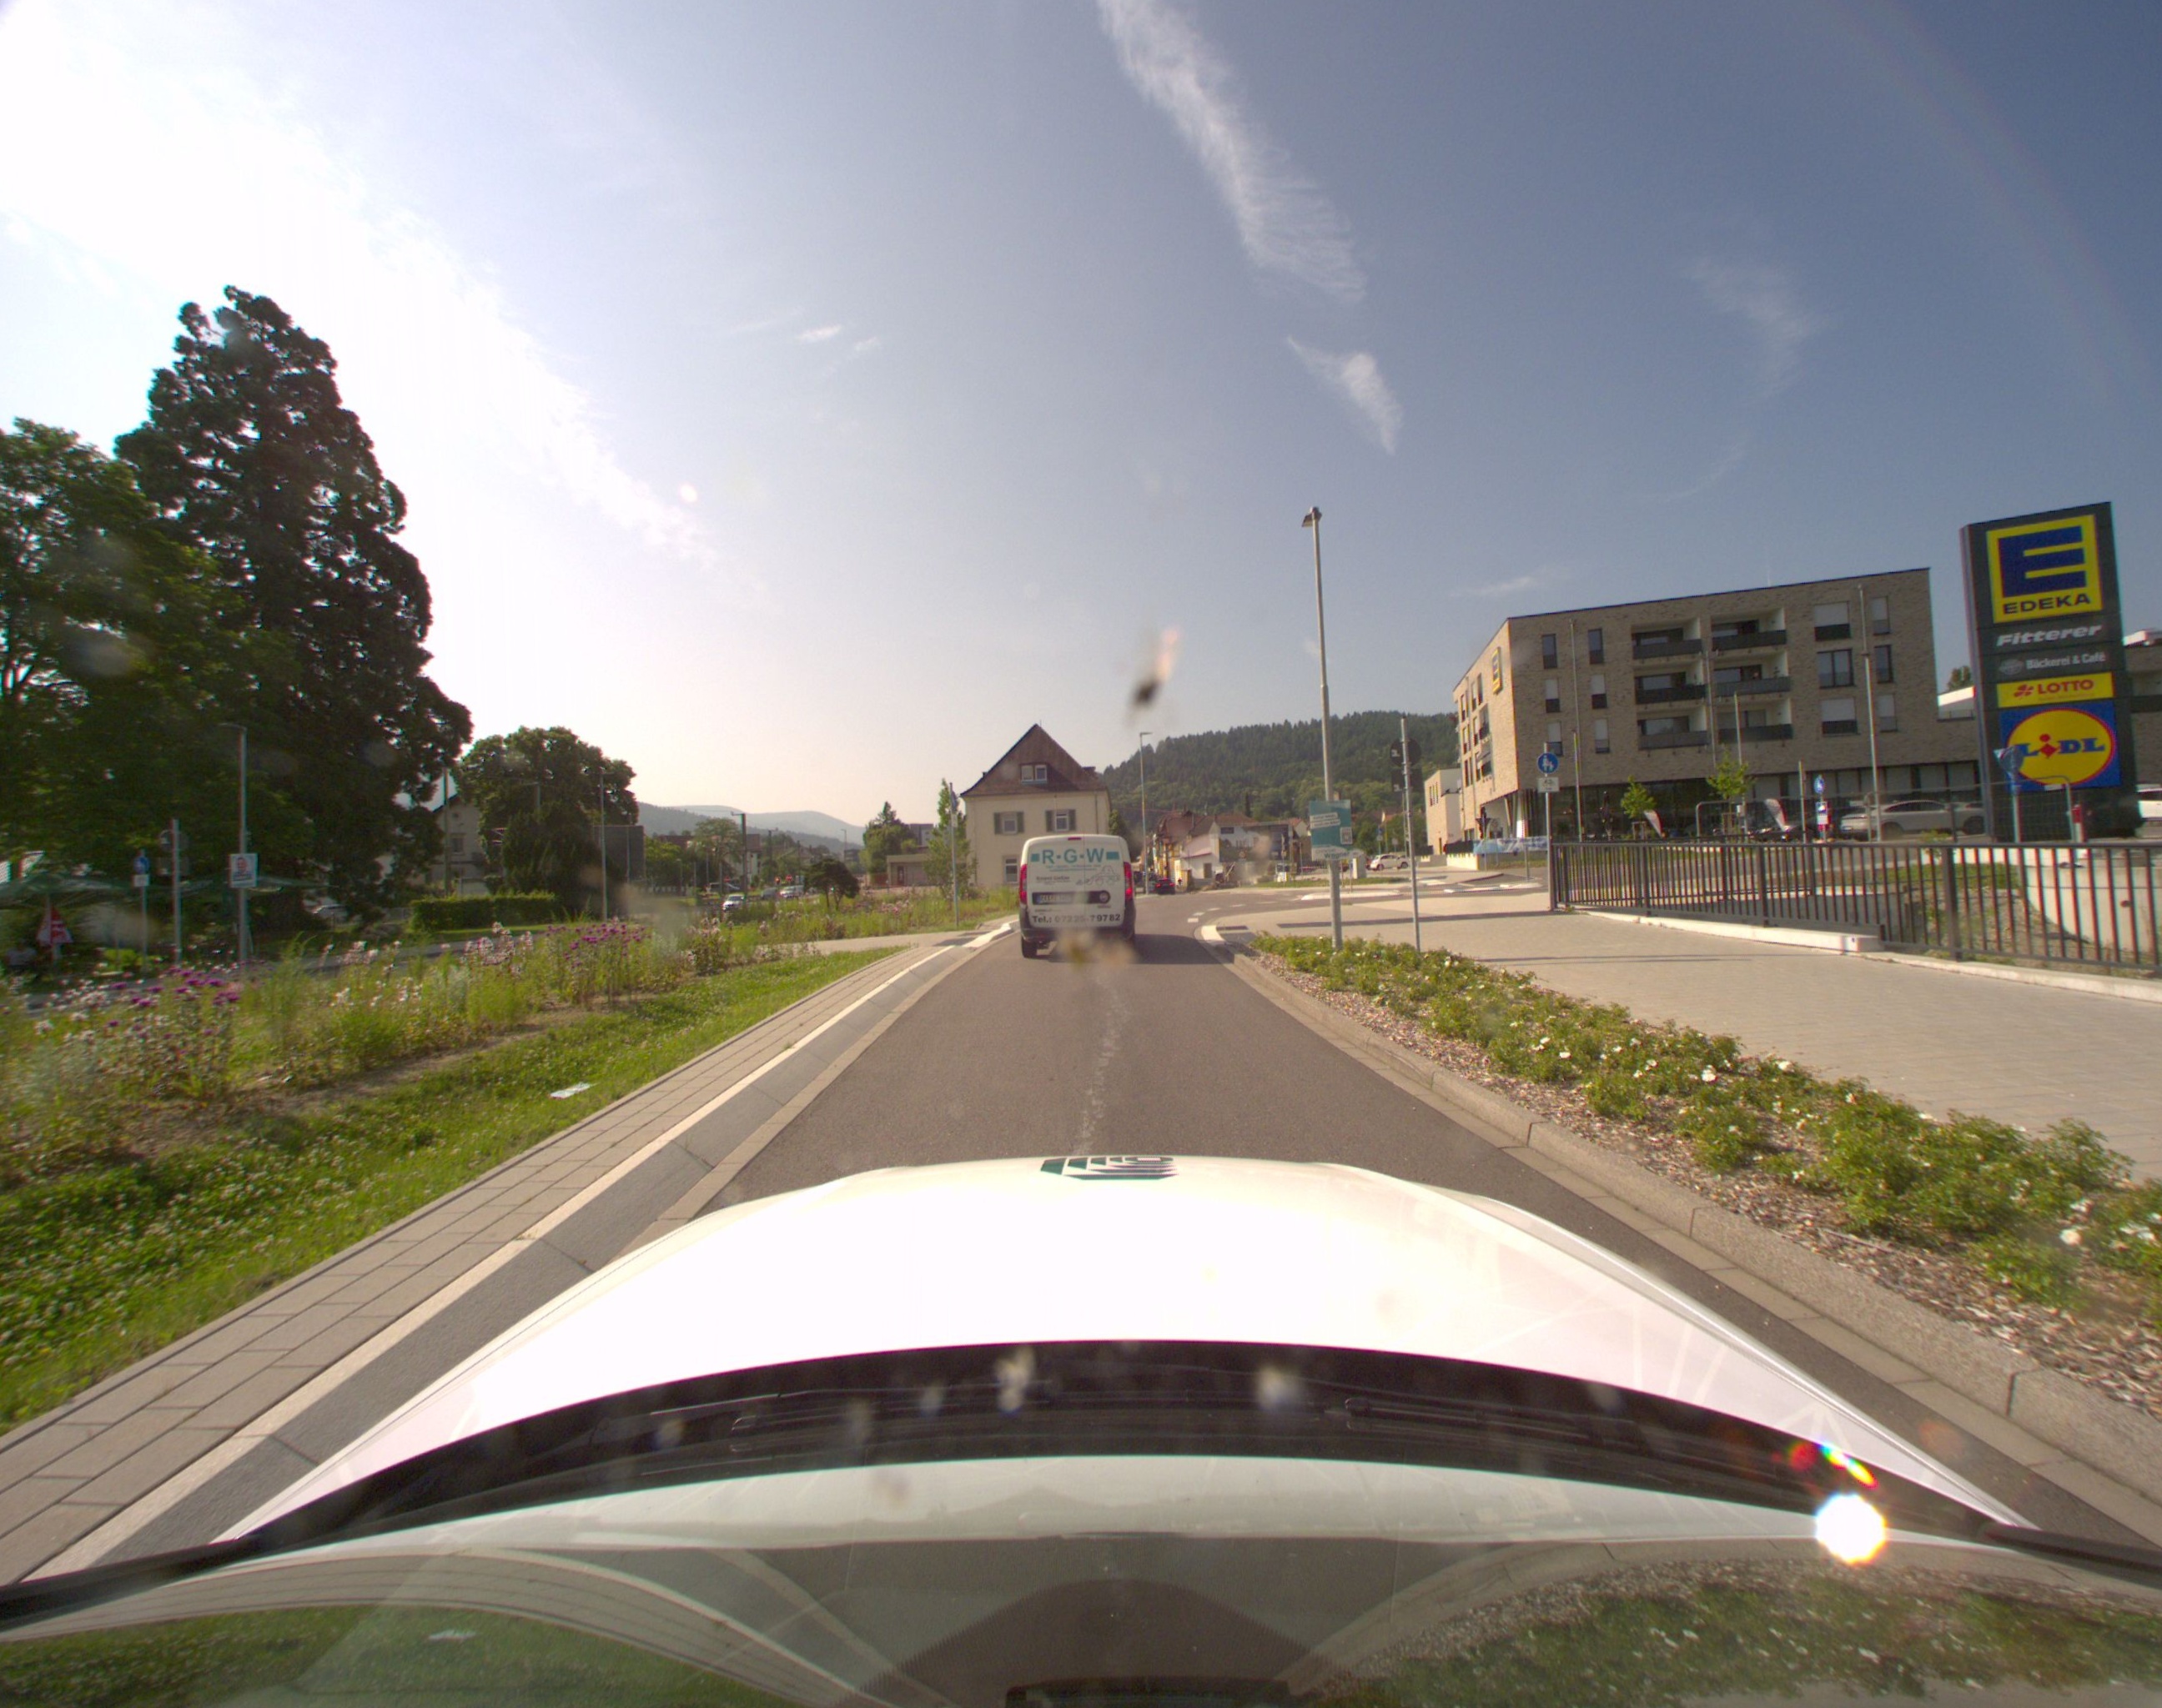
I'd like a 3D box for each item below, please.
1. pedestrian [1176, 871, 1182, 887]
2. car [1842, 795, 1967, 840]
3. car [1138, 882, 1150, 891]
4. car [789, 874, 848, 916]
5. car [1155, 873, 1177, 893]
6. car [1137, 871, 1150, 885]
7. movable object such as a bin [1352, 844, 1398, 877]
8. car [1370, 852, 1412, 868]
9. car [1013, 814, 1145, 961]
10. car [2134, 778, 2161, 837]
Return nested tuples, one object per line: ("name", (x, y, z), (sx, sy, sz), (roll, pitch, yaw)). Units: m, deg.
("pedestrian", (12.636, 3.194, 105.094), (0.688, 2.014, 0.636), (-4, -2, 2))
("car", (35.628, -1.551, 35.324), (3.461, 1.593, 1.493), (-4, -2, 15))
("car", (7.389, 3.780, 95.008), (1.300, 1.003, 3.094), (-4, -2, 4))
("car", (-14.413, 2.222, 44.974), (1.803, 2.013, 4.000), (-4, 0, 0))
("car", (7.933, 2.711, 75.603), (1.871, 1.684, 4.008), (-4, -2, 7))
("car", (9.866, 3.760, 128.063), (1.984, 2.014, 4.005), (-4, -2, 5))
("movable object such as a bin", (18.299, 0.434, 50.751), (2.427, 1.844, 1.433), (-4, -2, 11))
("car", (29.415, 0.604, 77.282), (3.458, 1.303, 1.470), (-3, -1, 4))
("car", (0.142, 0.487, 14.018), (1.797, 2.078, 4.611), (-1, 0, 5))
("car", (28.511, -1.290, 19.298), (3.950, 1.447, 1.687), (-5, -2, 25))
